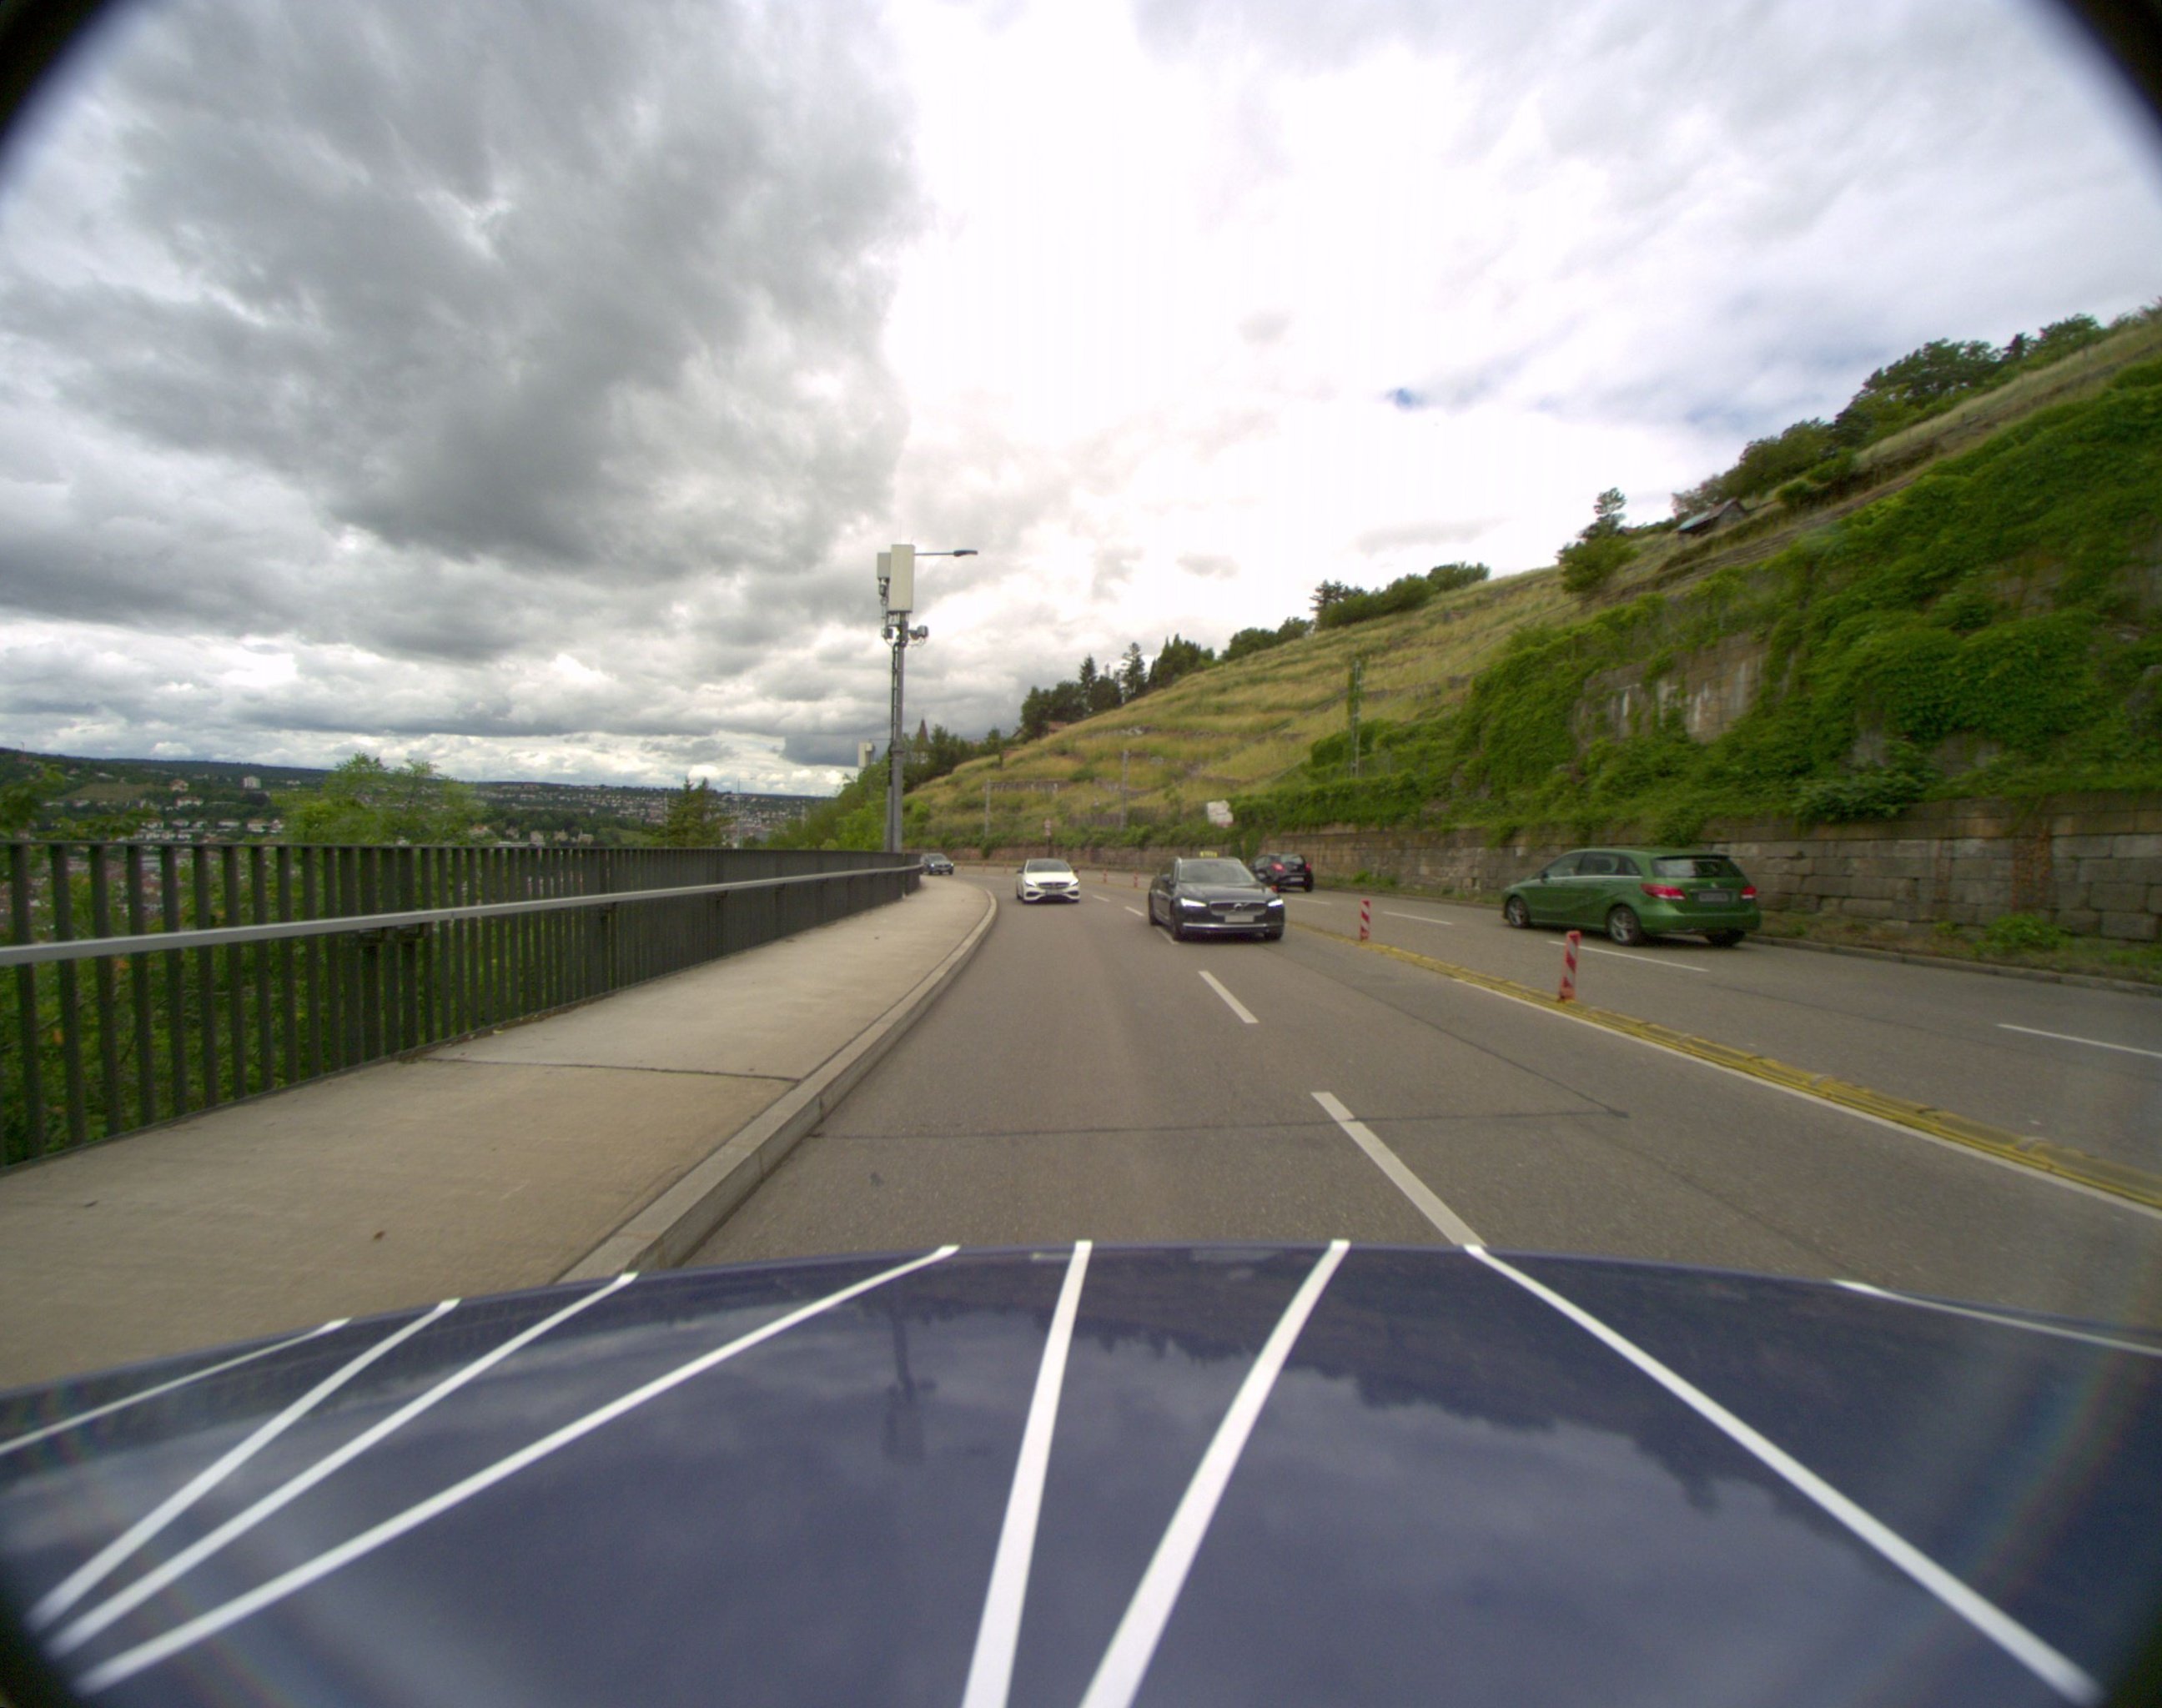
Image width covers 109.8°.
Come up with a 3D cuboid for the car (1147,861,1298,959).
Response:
[{"bbox_3d":[2.436,0.908,14.131,1.901,1.485,4.141,-1,0,-2],"label":"car"}]

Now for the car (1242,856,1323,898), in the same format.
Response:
[{"bbox_3d":[7.539,0.800,28.860,1.711,1.433,3.998,-1,0,-5],"label":"car"}]

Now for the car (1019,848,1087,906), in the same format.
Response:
[{"bbox_3d":[-1.013,0.720,25.204,1.999,1.708,3.998,-1,0,-5],"label":"car"}]

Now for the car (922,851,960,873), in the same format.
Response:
[{"bbox_3d":[-10.843,0.600,58.501,2.002,1.661,4.528,0,0,-23],"label":"car"}]

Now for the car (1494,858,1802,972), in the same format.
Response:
[{"bbox_3d":[9.185,0.870,12.878,1.856,1.506,4.332,-1,1,-3],"label":"car"}]
